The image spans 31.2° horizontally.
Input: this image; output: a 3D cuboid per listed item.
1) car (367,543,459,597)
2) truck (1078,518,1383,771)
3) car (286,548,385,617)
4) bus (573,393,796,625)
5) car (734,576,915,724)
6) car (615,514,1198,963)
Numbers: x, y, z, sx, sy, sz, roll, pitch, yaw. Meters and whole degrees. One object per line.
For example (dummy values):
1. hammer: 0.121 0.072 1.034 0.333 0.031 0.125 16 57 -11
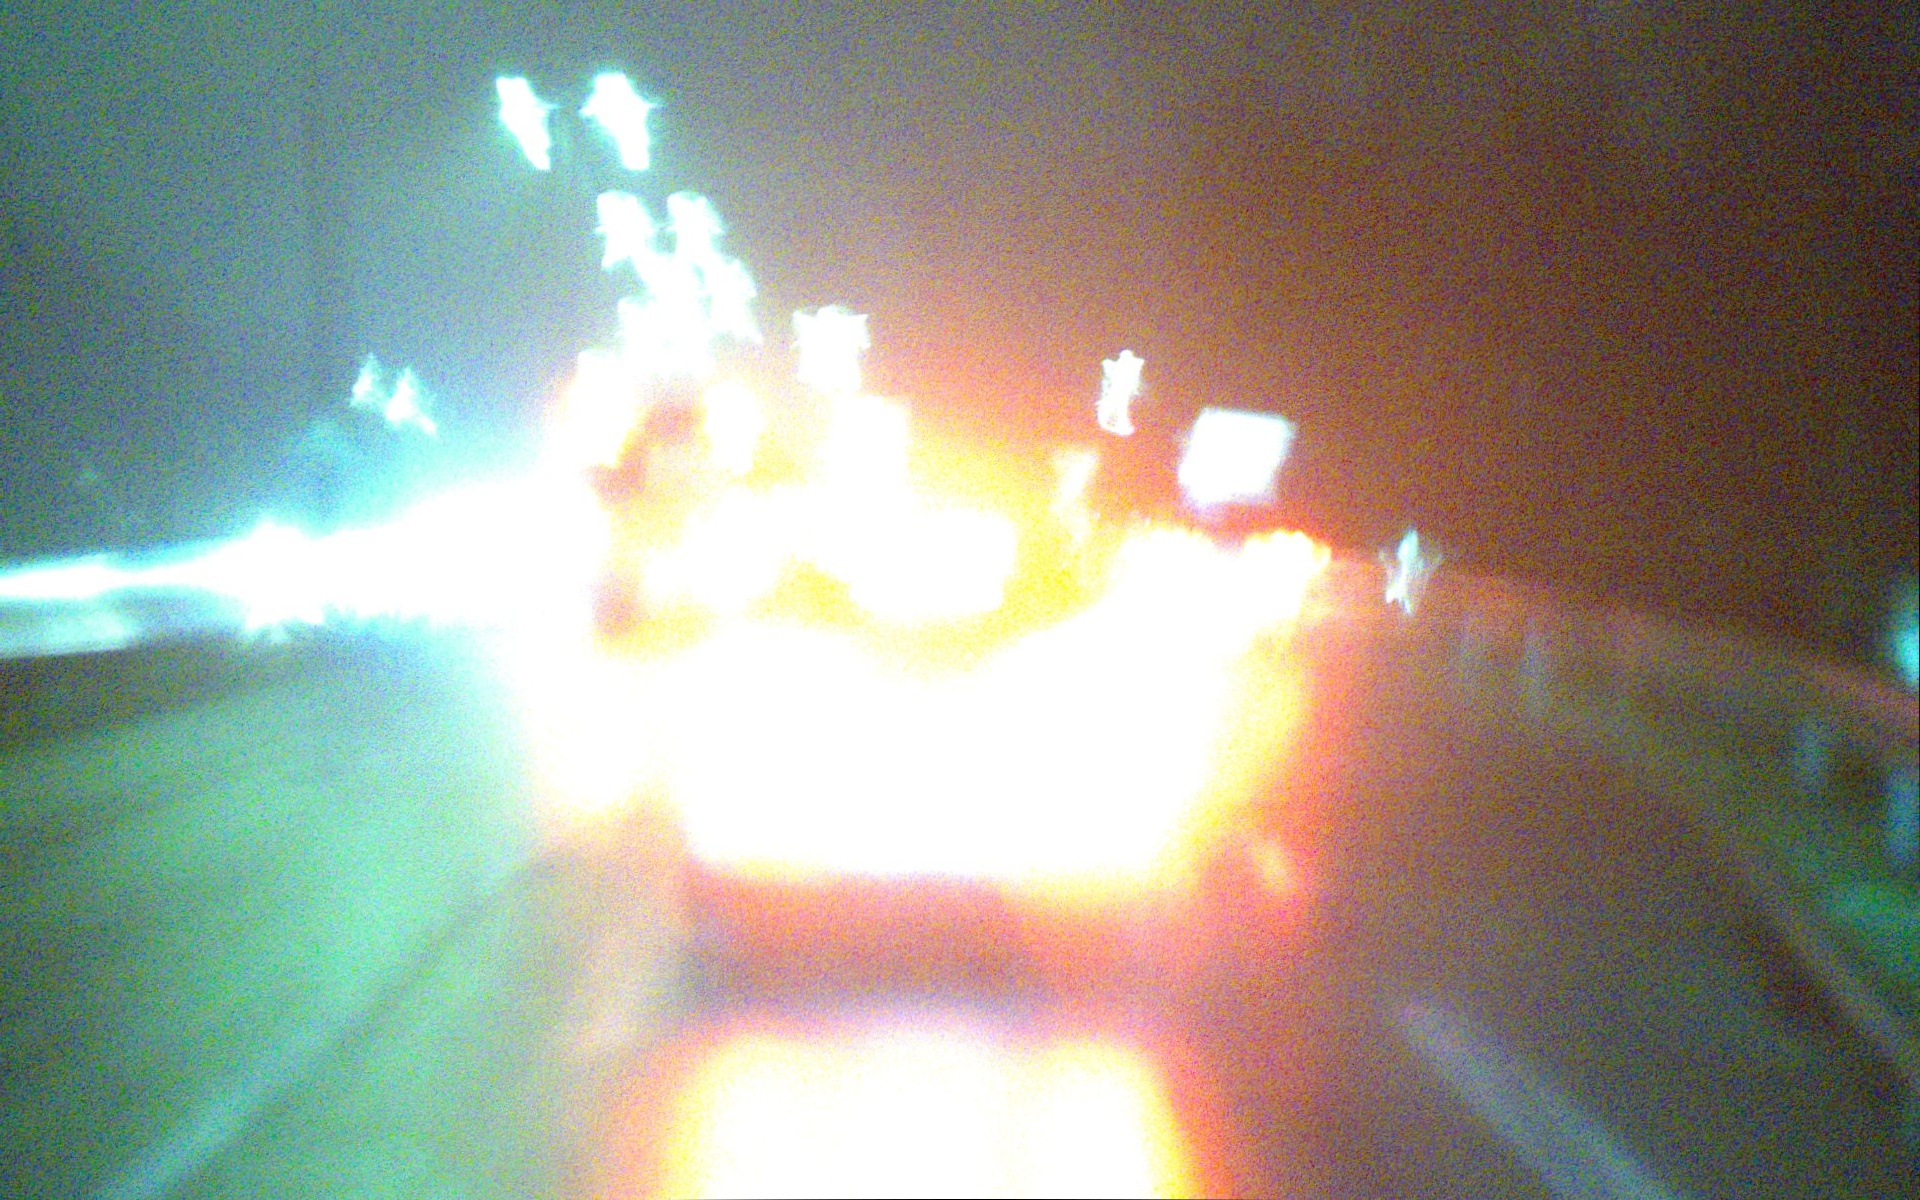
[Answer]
1. car: -16.294 -0.879 102.618 2.023 1.497 4.897 2 0 -1
2. truck: 3.075 0.456 39.097 3.070 2.520 7.165 2 0 5
3. car: -14.611 -0.399 80.609 1.600 1.546 3.834 2 0 0
4. bus: -4.007 -1.376 51.879 2.743 3.112 9.202 2 1 -1
5. car: -1.406 0.497 36.887 1.822 1.456 3.716 0 1 0
6. car: -0.058 0.435 13.395 1.944 1.486 3.715 0 1 4
